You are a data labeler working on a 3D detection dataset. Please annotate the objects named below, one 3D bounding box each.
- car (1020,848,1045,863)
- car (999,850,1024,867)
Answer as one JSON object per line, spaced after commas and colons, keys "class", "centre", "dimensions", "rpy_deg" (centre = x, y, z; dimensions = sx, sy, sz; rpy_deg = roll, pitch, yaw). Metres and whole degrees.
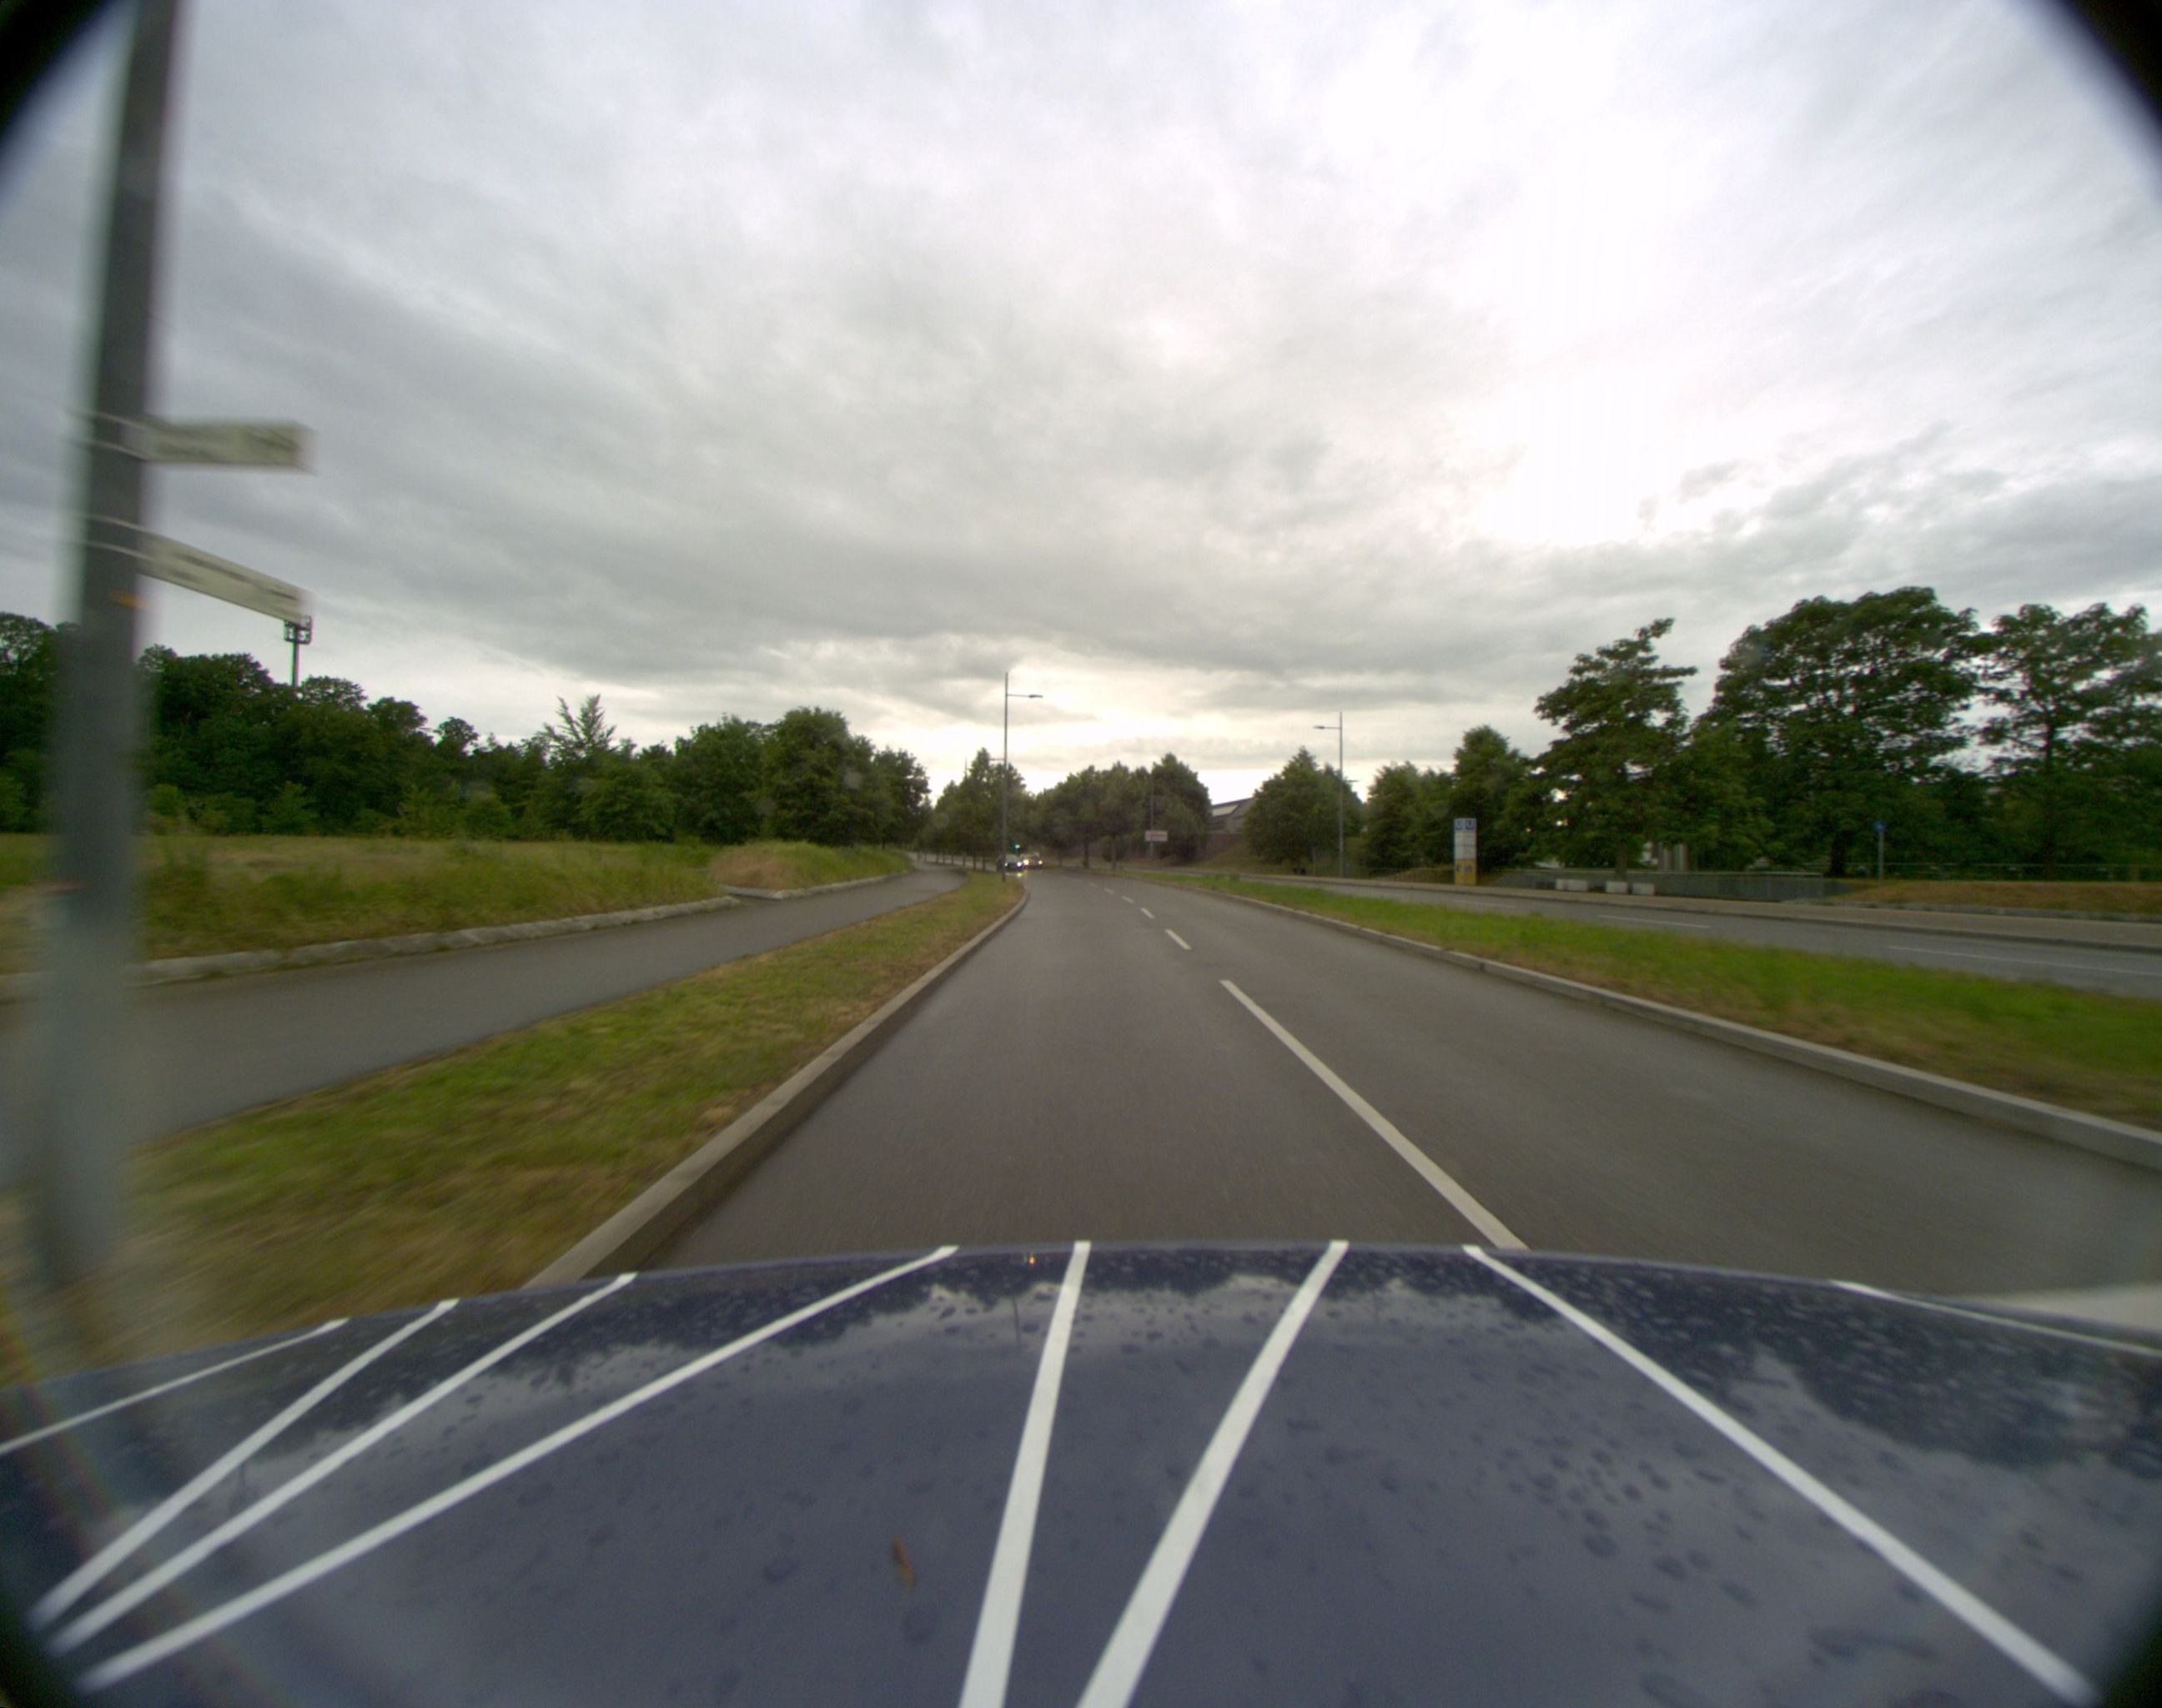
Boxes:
{"class": "car", "centre": [-4.616, 0.173, 72.210], "dimensions": [1.812, 1.421, 4.193], "rpy_deg": [0, -1, -12]}
{"class": "car", "centre": [-5.850, 0.407, 64.192], "dimensions": [1.990, 1.391, 4.176], "rpy_deg": [0, -2, -4]}
